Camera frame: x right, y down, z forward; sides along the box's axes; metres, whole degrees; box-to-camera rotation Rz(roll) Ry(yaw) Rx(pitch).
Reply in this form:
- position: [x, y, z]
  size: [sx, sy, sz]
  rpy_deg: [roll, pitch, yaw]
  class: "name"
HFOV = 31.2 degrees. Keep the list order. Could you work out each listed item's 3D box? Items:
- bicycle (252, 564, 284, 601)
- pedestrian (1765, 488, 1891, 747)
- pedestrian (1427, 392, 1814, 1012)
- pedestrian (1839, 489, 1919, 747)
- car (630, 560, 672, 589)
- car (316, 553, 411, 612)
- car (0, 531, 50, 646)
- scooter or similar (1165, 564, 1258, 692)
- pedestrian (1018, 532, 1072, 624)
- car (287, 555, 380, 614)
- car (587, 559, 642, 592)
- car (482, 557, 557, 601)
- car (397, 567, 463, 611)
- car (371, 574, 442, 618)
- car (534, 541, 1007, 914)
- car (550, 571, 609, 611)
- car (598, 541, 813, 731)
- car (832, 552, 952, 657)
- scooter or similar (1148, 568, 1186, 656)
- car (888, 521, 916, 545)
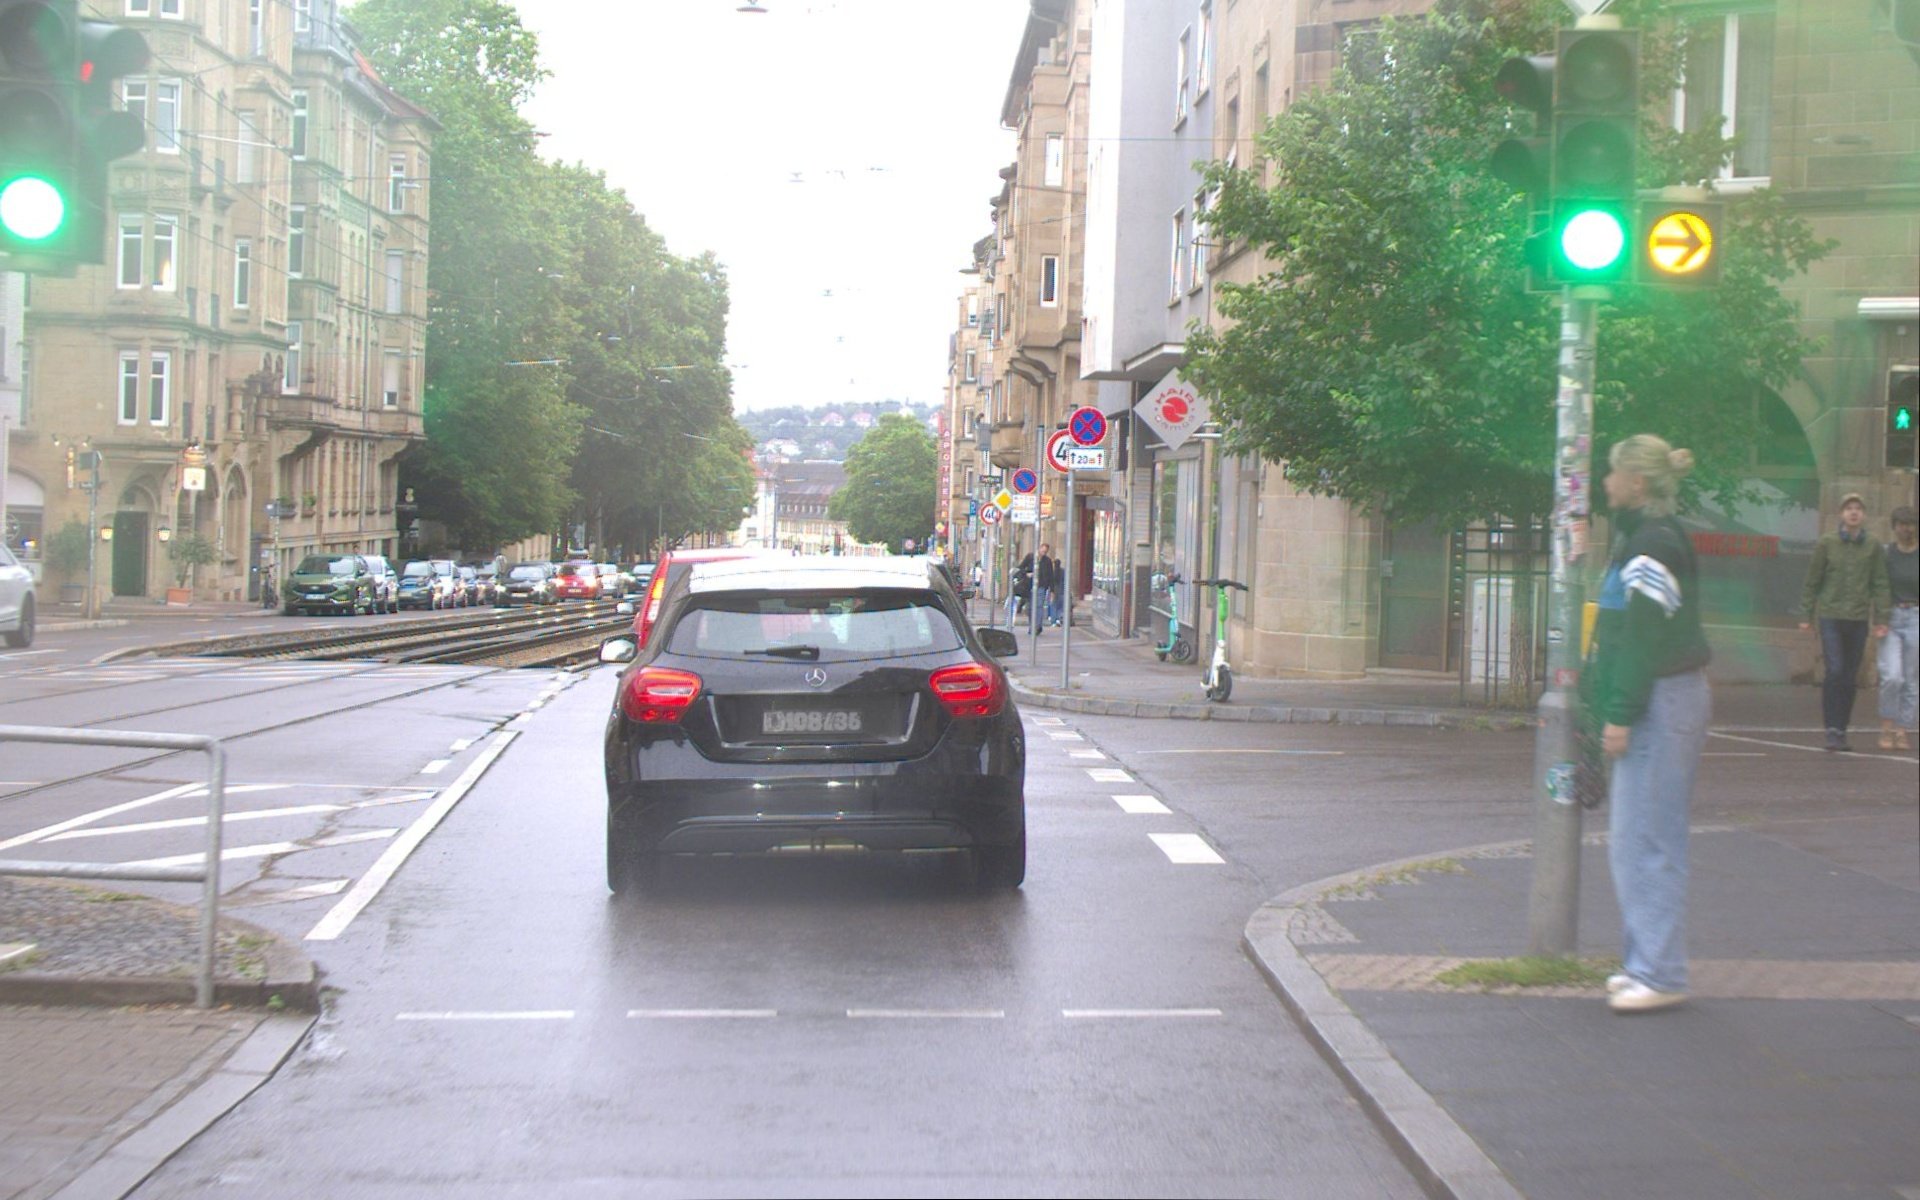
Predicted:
- position: [-18.572, -0.473, 92.283]
  size: [0.598, 0.997, 2.080]
  rpy_deg: [0, 1, -5]
  class: "bicycle"
- position: [6.111, 0.117, 24.242]
  size: [0.594, 1.782, 0.891]
  rpy_deg: [-1, 0, -4]
  class: "pedestrian"
- position: [2.082, 0.305, 10.762]
  size: [0.966, 1.834, 0.901]
  rpy_deg: [-2, 1, 22]
  class: "pedestrian"
- position: [6.697, 0.118, 24.275]
  size: [0.682, 1.782, 0.902]
  rpy_deg: [-1, 0, -4]
  class: "pedestrian"
- position: [-15.087, -1.263, 168.047]
  size: [1.695, 1.384, 3.481]
  rpy_deg: [0, 1, 1]
  class: "car"
- position: [-16.704, -0.507, 96.456]
  size: [1.806, 1.591, 4.525]
  rpy_deg: [0, 1, 1]
  class: "car"
- position: [-14.550, -0.168, 48.709]
  size: [1.993, 1.622, 5.253]
  rpy_deg: [0, 1, -1]
  class: "car"
- position: [2.413, 0.254, 33.121]
  size: [0.638, 1.206, 1.553]
  rpy_deg: [0, 1, -5]
  class: "scooter or similar"
- position: [1.626, -0.428, 66.273]
  size: [0.945, 1.763, 1.015]
  rpy_deg: [1, 1, -3]
  class: "pedestrian"
- position: [-16.610, -0.426, 91.290]
  size: [1.722, 1.536, 3.934]
  rpy_deg: [0, 1, 1]
  class: "car"
- position: [-14.123, -1.011, 140.773]
  size: [1.806, 1.356, 4.763]
  rpy_deg: [0, 1, 0]
  class: "car"
- position: [-14.384, -0.700, 112.491]
  size: [1.948, 1.392, 4.274]
  rpy_deg: [0, 1, -1]
  class: "car"
- position: [-17.040, -0.369, 110.631]
  size: [1.569, 1.408, 3.481]
  rpy_deg: [0, 1, 1]
  class: "car"
- position: [-17.079, -0.146, 106.212]
  size: [1.569, 1.312, 3.481]
  rpy_deg: [0, 1, 1]
  class: "car"
- position: [-0.736, 0.487, 15.819]
  size: [1.866, 1.447, 4.000]
  rpy_deg: [2, 1, 1]
  class: "car"
- position: [-14.324, -0.344, 129.686]
  size: [1.681, 1.492, 3.518]
  rpy_deg: [0, 1, 3]
  class: "car"
- position: [-2.120, 0.256, 29.022]
  size: [1.649, 1.447, 4.001]
  rpy_deg: [2, 1, -3]
  class: "car"
- position: [-1.041, 0.047, 53.270]
  size: [1.765, 1.553, 4.746]
  rpy_deg: [0, 0, -1]
  class: "car"
- position: [2.903, 0.166, 48.281]
  size: [0.395, 1.212, 1.107]
  rpy_deg: [1, 1, -3]
  class: "scooter or similar"
- position: [-3.469, -3.978, 205.033]
  size: [1.613, 1.313, 4.000]
  rpy_deg: [2, 0, -1]
  class: "car"
